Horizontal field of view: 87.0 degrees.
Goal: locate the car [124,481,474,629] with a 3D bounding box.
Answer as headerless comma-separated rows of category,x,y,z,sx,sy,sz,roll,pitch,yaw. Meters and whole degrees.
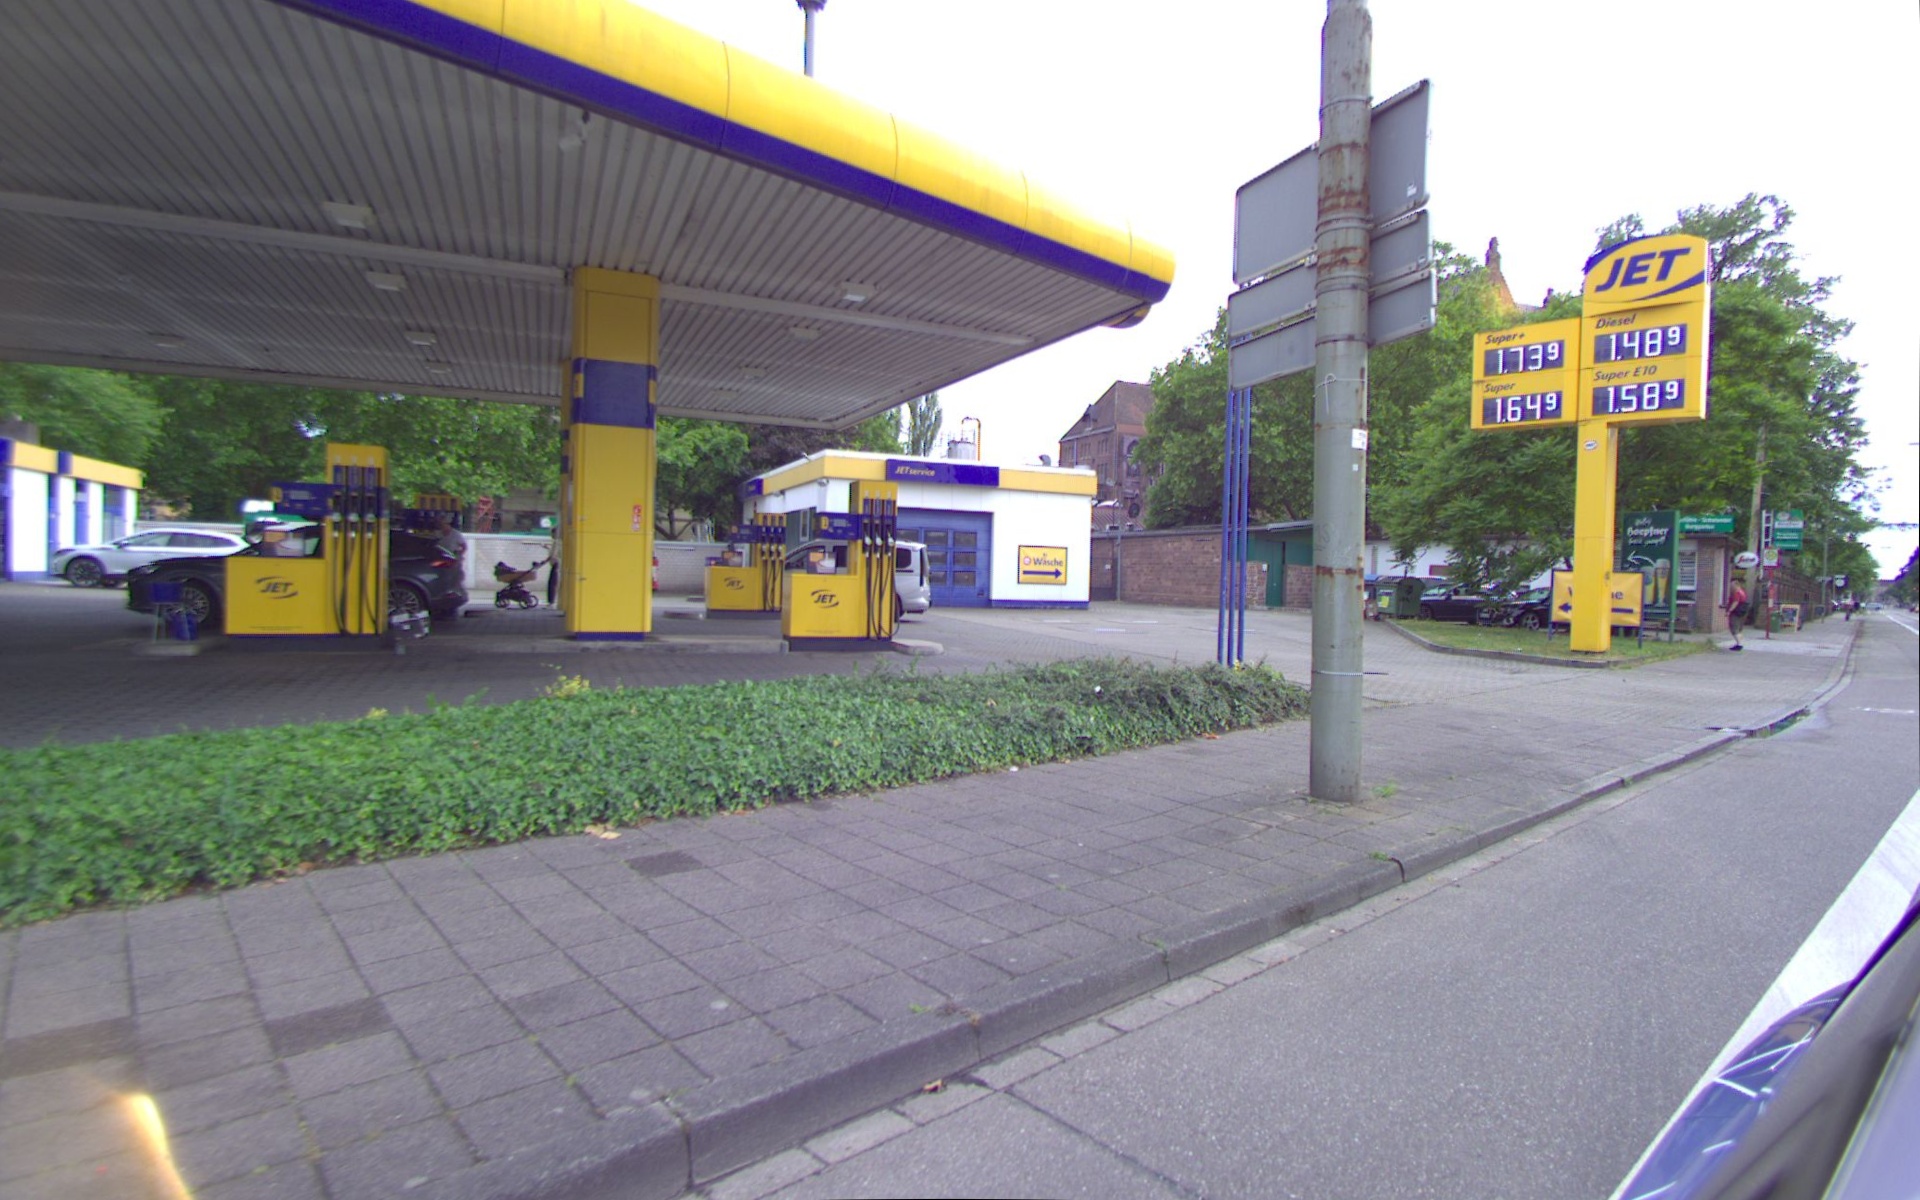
car,-9.763,-0.649,15.385,4.165,2.012,1.829,0,3,-22

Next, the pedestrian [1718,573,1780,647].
pedestrian,19.924,0.239,25.577,0.858,1.768,0.846,4,4,18

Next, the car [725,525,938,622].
car,-2.844,-0.631,23.073,4.448,1.865,1.986,3,3,5

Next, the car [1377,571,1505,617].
car,18.326,-0.264,38.645,3.988,1.687,1.968,2,1,44

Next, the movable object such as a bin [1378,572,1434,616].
movable object such as a bin,13.879,-0.206,31.492,1.136,1.336,1.123,0,1,-12

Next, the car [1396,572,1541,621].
car,16.884,-0.129,33.722,3.919,1.536,1.829,0,1,-6

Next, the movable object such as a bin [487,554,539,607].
movable object such as a bin,-9.611,-0.422,21.757,0.781,1.079,0.603,4,1,1

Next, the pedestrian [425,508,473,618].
pedestrian,-8.582,-0.611,17.005,0.614,1.809,0.709,0,1,-19

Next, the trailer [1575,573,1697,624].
trailer,23.985,-0.108,35.959,3.284,1.549,1.746,5,6,44

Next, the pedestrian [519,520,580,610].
pedestrian,-8.820,-0.740,21.753,0.952,1.842,0.603,4,1,1

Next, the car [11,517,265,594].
car,-20.997,-1.107,26.129,4.662,1.616,1.946,3,1,-23

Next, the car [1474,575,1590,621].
car,17.458,-0.079,30.833,3.933,1.304,1.996,0,1,-43

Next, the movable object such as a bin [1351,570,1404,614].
movable object such as a bin,13.464,-0.262,32.683,1.136,1.375,1.123,0,1,-12
